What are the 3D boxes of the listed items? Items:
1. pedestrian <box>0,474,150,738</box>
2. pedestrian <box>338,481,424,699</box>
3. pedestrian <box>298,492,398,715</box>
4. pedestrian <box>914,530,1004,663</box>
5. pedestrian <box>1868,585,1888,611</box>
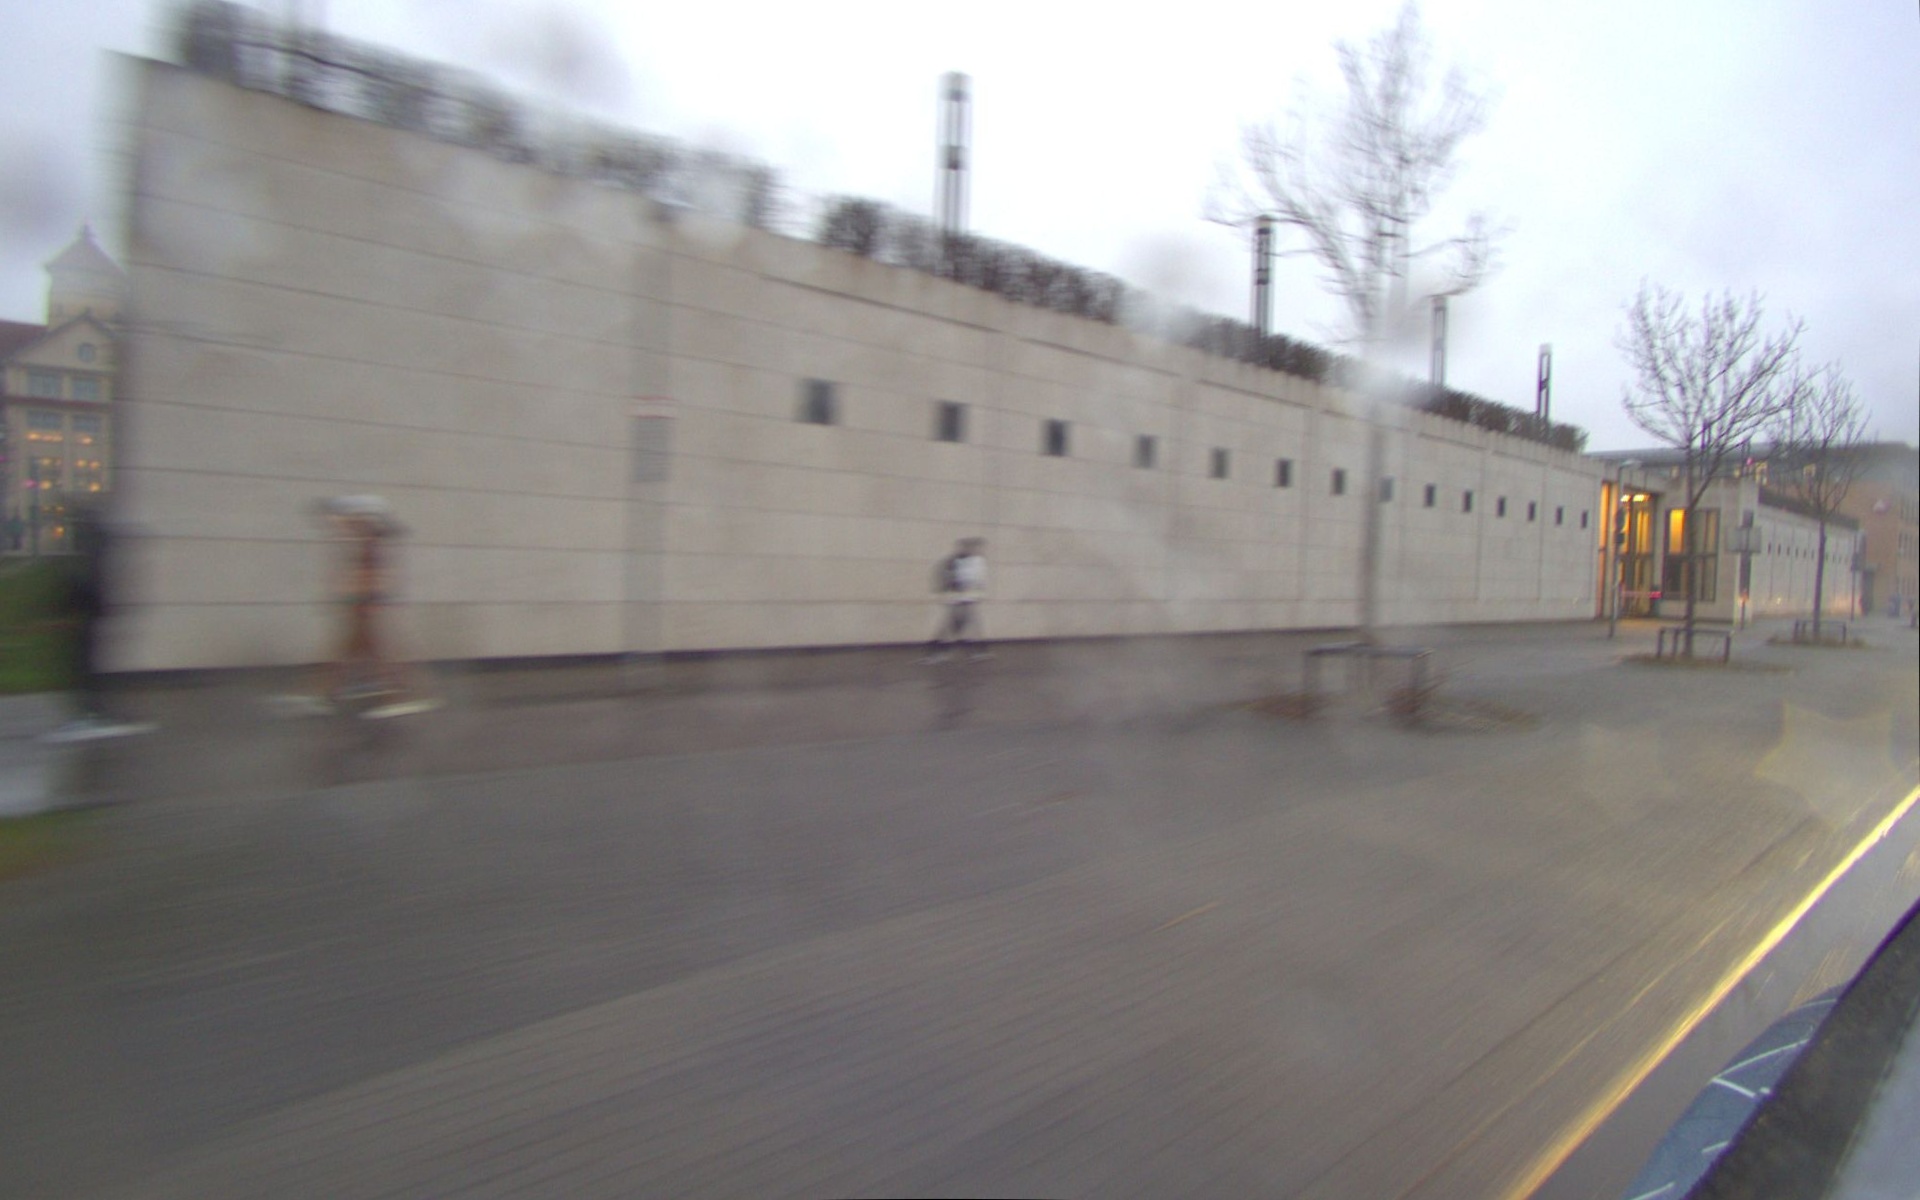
[{"bbox_3d":[-5.881,0.031,6.752,0.601,1.645,0.676,0,0,-25],"label":"pedestrian"},{"bbox_3d":[-5.024,-0.086,8.814,0.602,1.800,0.676,0,0,-27],"label":"pedestrian"},{"bbox_3d":[-4.729,0.020,7.857,0.602,1.632,0.676,0,0,-27],"label":"pedestrian"},{"bbox_3d":[-0.009,-0.067,13.428,0.667,1.675,0.979,4,3,44],"label":"pedestrian"},{"bbox_3d":[60.892,-0.122,67.128,0.868,1.650,0.814,0,4,-41],"label":"pedestrian"}]
